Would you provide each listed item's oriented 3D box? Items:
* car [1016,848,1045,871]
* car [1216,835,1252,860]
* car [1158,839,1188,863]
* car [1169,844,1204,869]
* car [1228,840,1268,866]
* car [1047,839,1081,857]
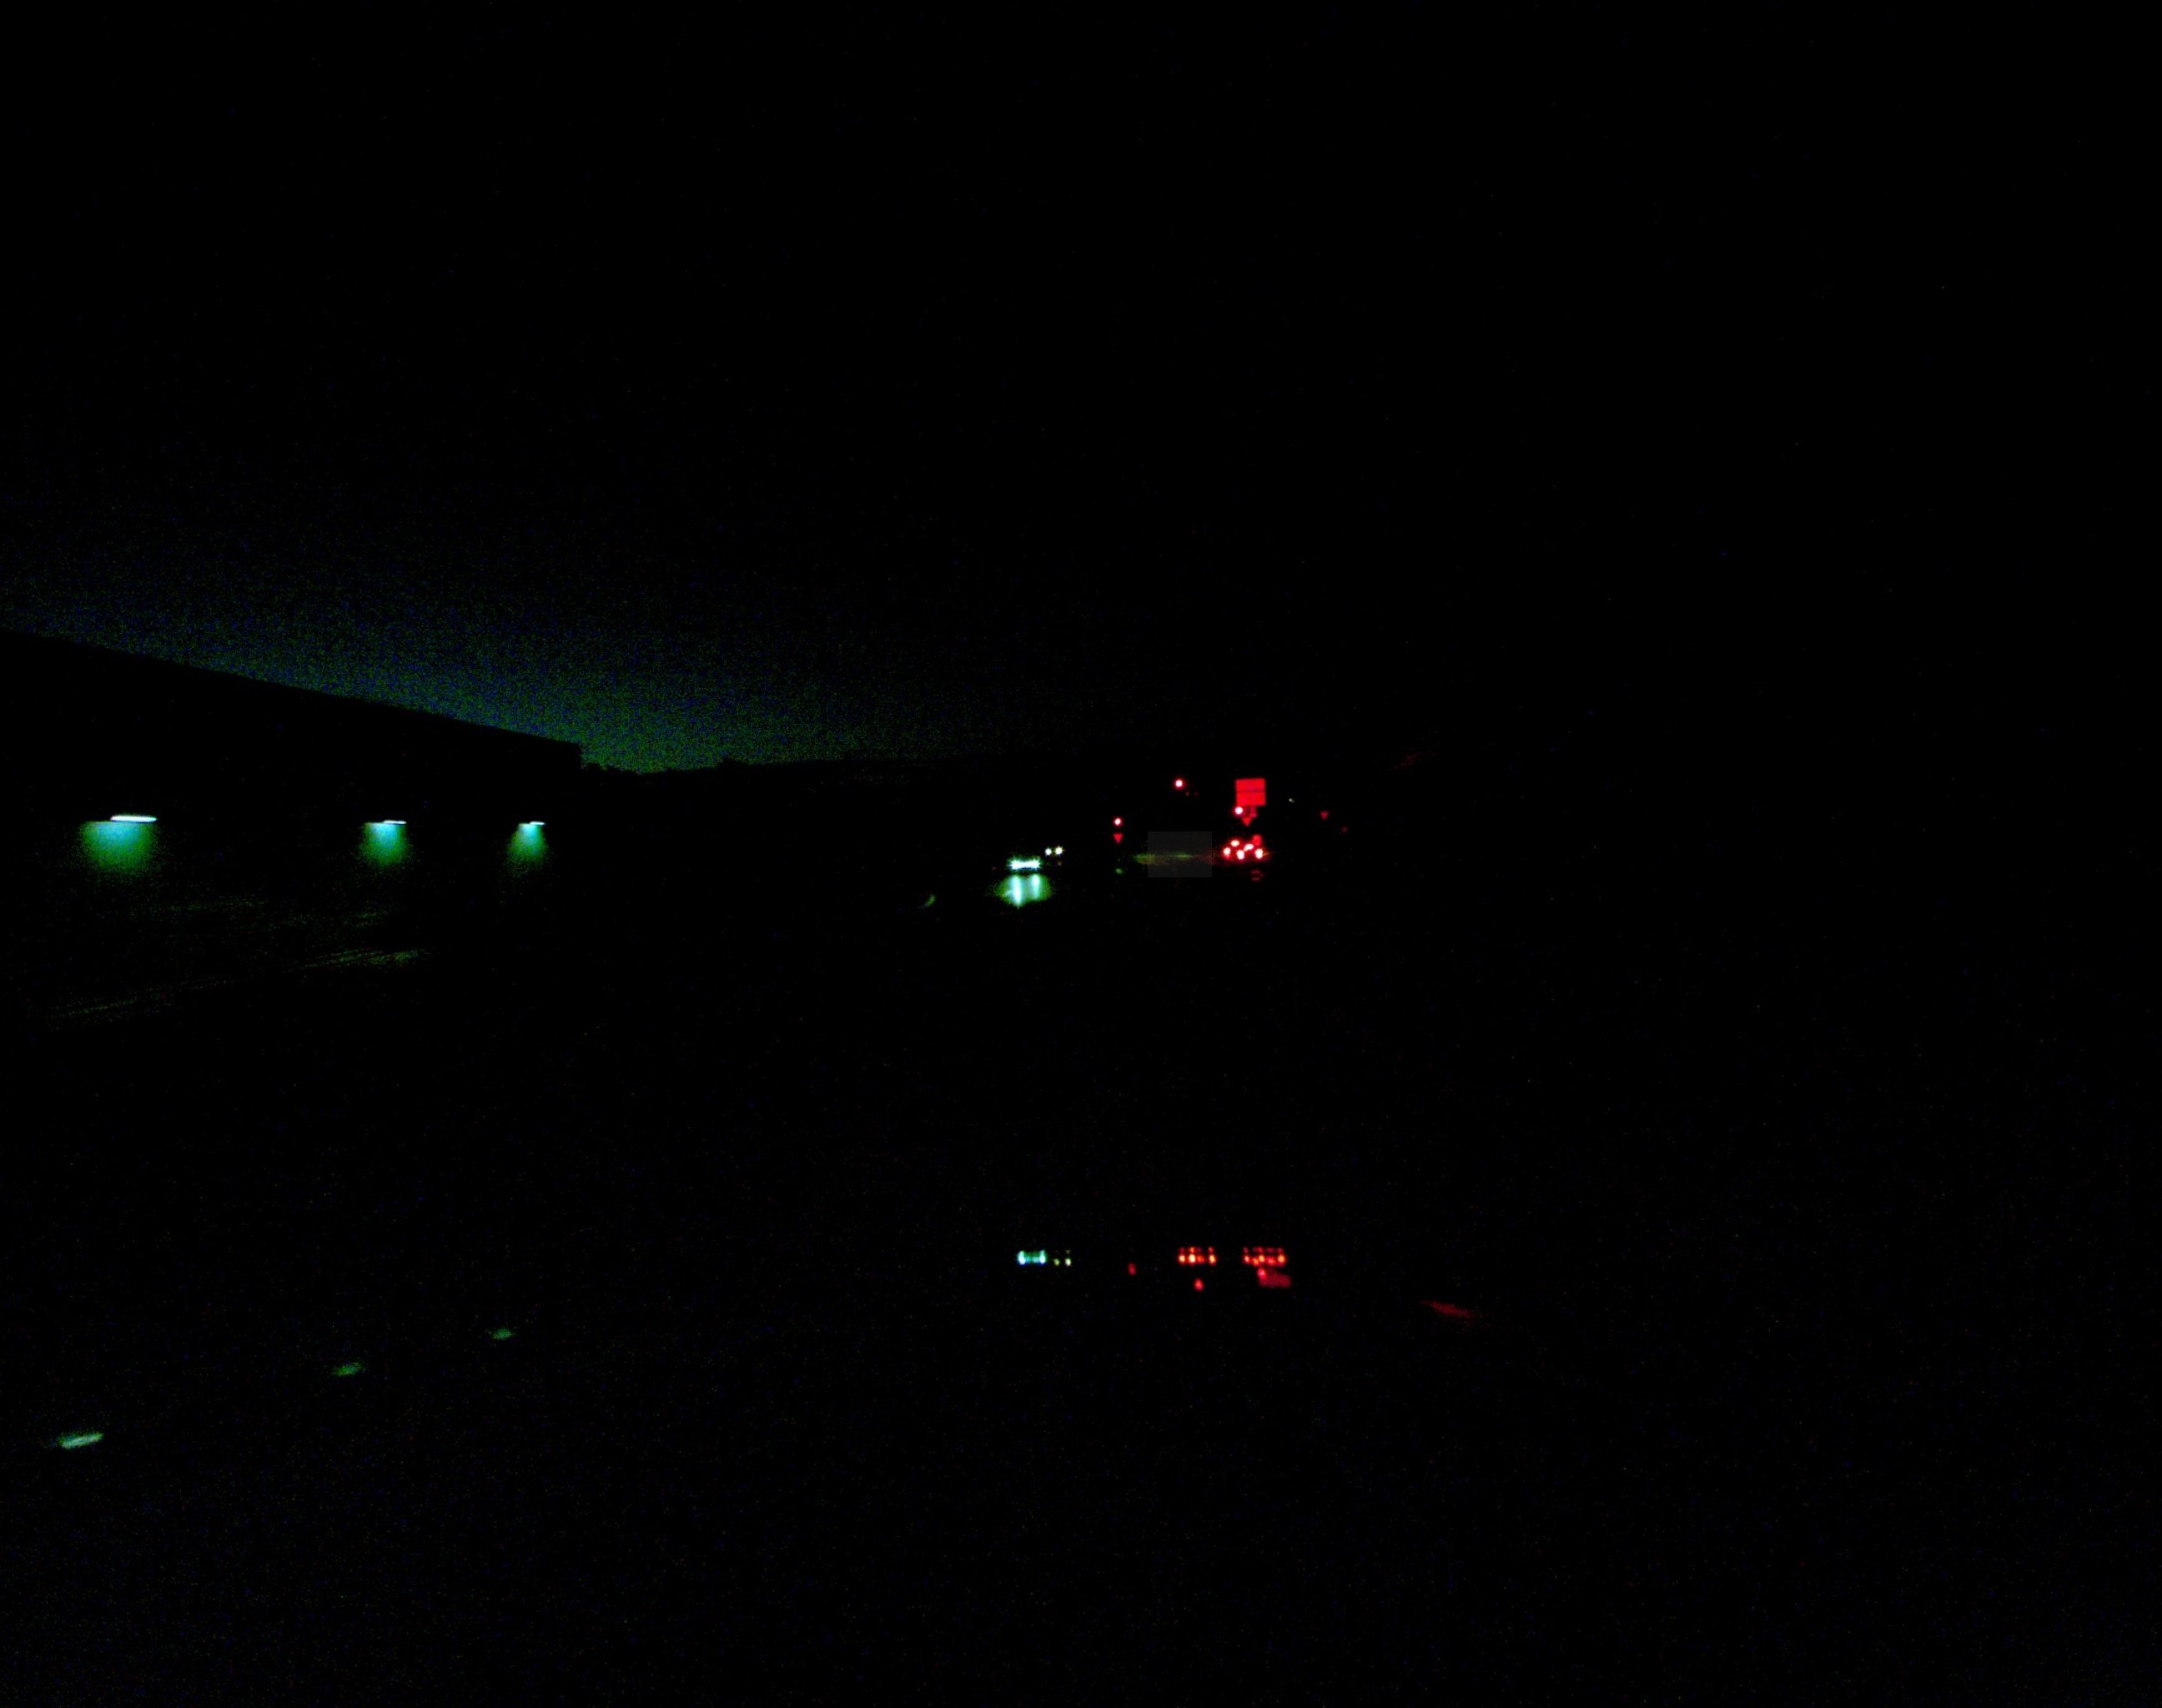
[{"bbox_3d":[-3.736,0.409,56.817,1.762,1.451,4.191,-4,2,1],"label":"car"},{"bbox_3d":[11.095,-0.512,55.176,1.758,1.453,3.998,-5,3,1],"label":"car"},{"bbox_3d":[6.914,-0.267,57.373,1.703,1.467,3.867,-5,4,0],"label":"car"},{"bbox_3d":[6.861,0.127,49.794,1.714,1.436,3.984,-4,2,1],"label":"car"},{"bbox_3d":[10.598,-0.109,48.423,1.687,1.451,3.811,-3,2,1],"label":"car"},{"bbox_3d":[-1.667,-0.622,74.017,1.654,1.442,3.494,-3,2,29],"label":"car"}]
